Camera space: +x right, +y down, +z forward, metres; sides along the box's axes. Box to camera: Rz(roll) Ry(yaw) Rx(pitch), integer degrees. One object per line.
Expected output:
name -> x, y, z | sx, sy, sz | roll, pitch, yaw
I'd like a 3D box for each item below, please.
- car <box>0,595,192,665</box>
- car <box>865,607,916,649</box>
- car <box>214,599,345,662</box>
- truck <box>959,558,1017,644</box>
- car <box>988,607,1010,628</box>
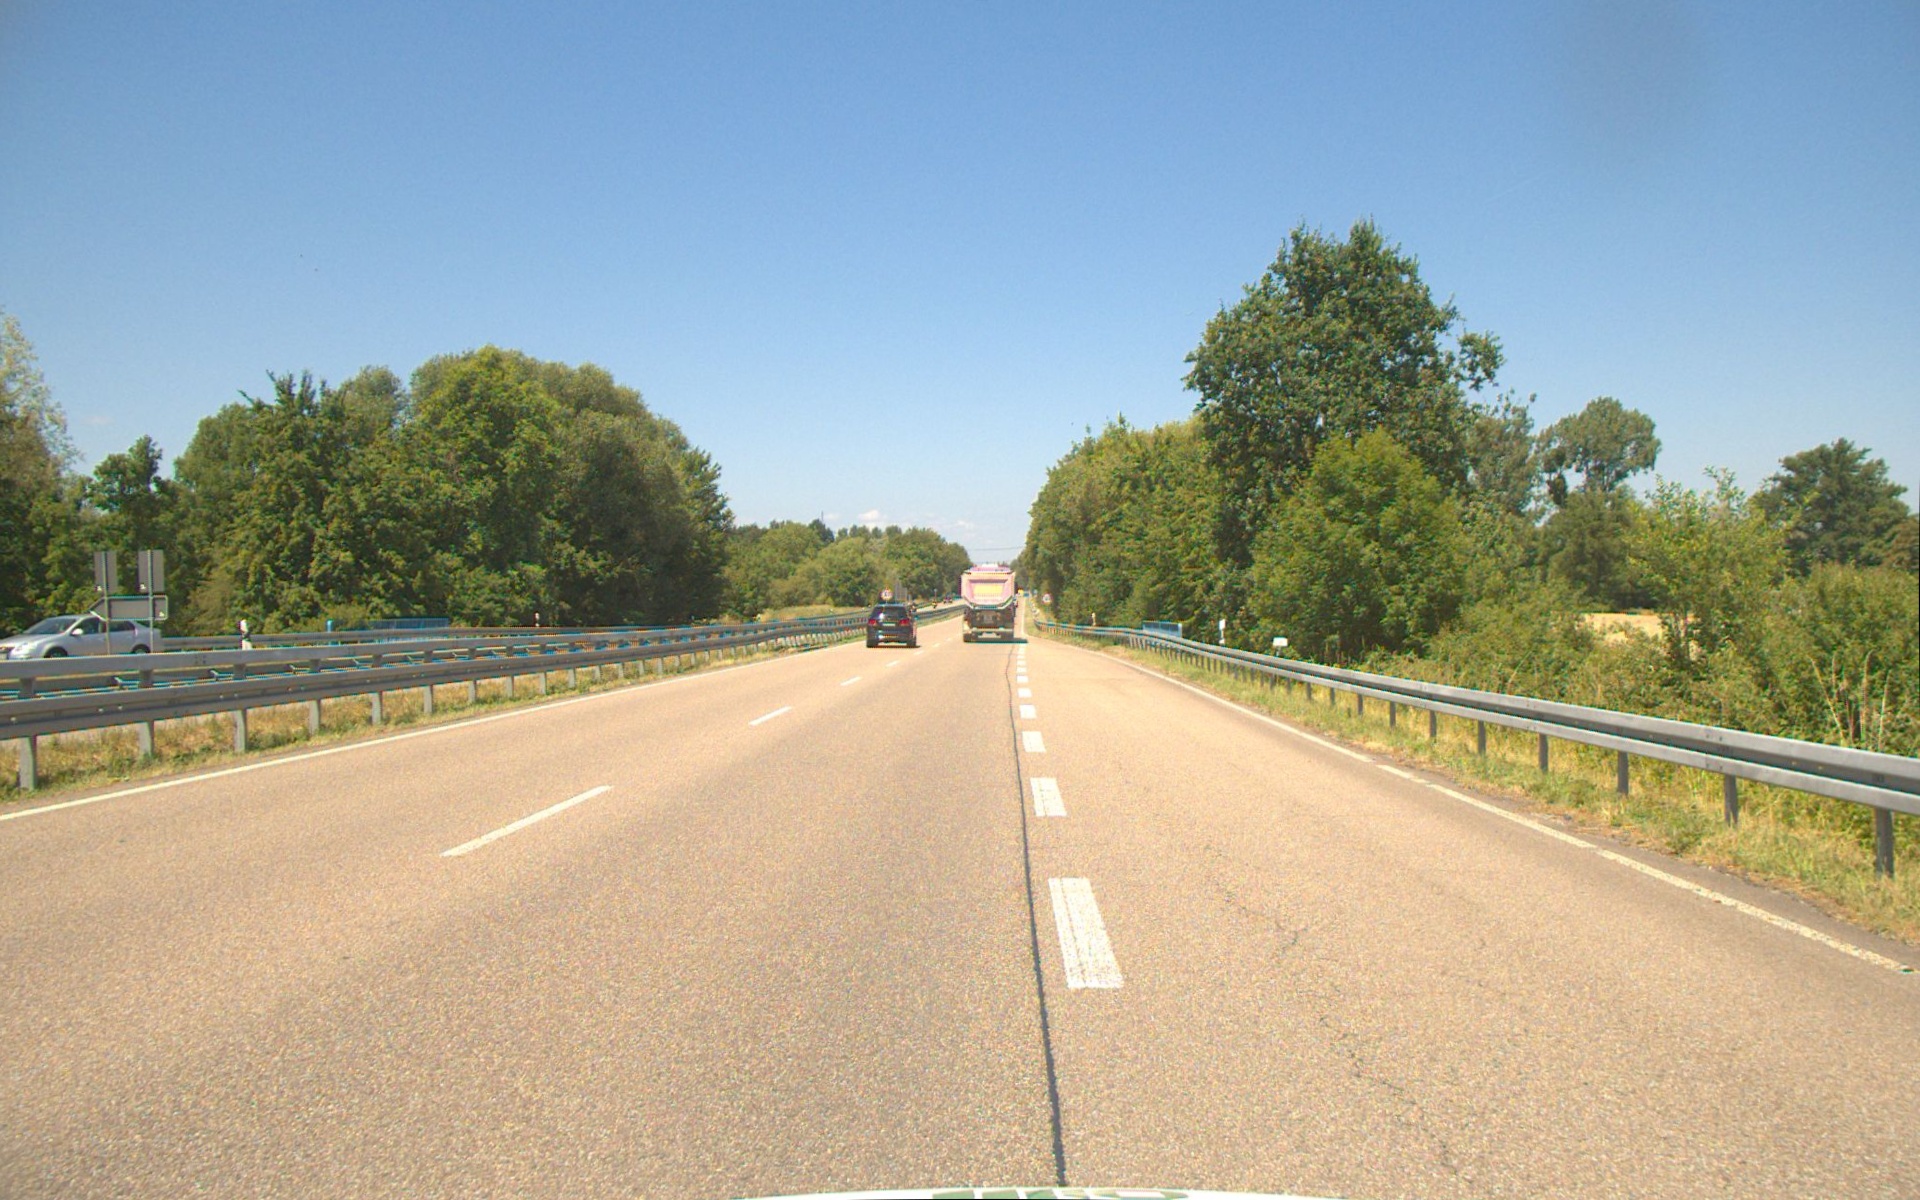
car -> -22.274, 0.749, 42.442 | 1.688, 1.674, 4.944 | 0, -1, 18
car -> -2.823, 1.172, 68.199 | 1.819, 1.701, 4.000 | 0, -1, 1
car -> -17.217, 0.795, 42.062 | 1.880, 1.515, 3.996 | 1, -2, -4
truck -> 1.446, 0.026, 82.718 | 2.664, 3.999, 12.372 | 0, 0, 1
car -> 3.335, 1.527, 141.046 | 1.819, 1.701, 4.000 | 0, -1, 1
